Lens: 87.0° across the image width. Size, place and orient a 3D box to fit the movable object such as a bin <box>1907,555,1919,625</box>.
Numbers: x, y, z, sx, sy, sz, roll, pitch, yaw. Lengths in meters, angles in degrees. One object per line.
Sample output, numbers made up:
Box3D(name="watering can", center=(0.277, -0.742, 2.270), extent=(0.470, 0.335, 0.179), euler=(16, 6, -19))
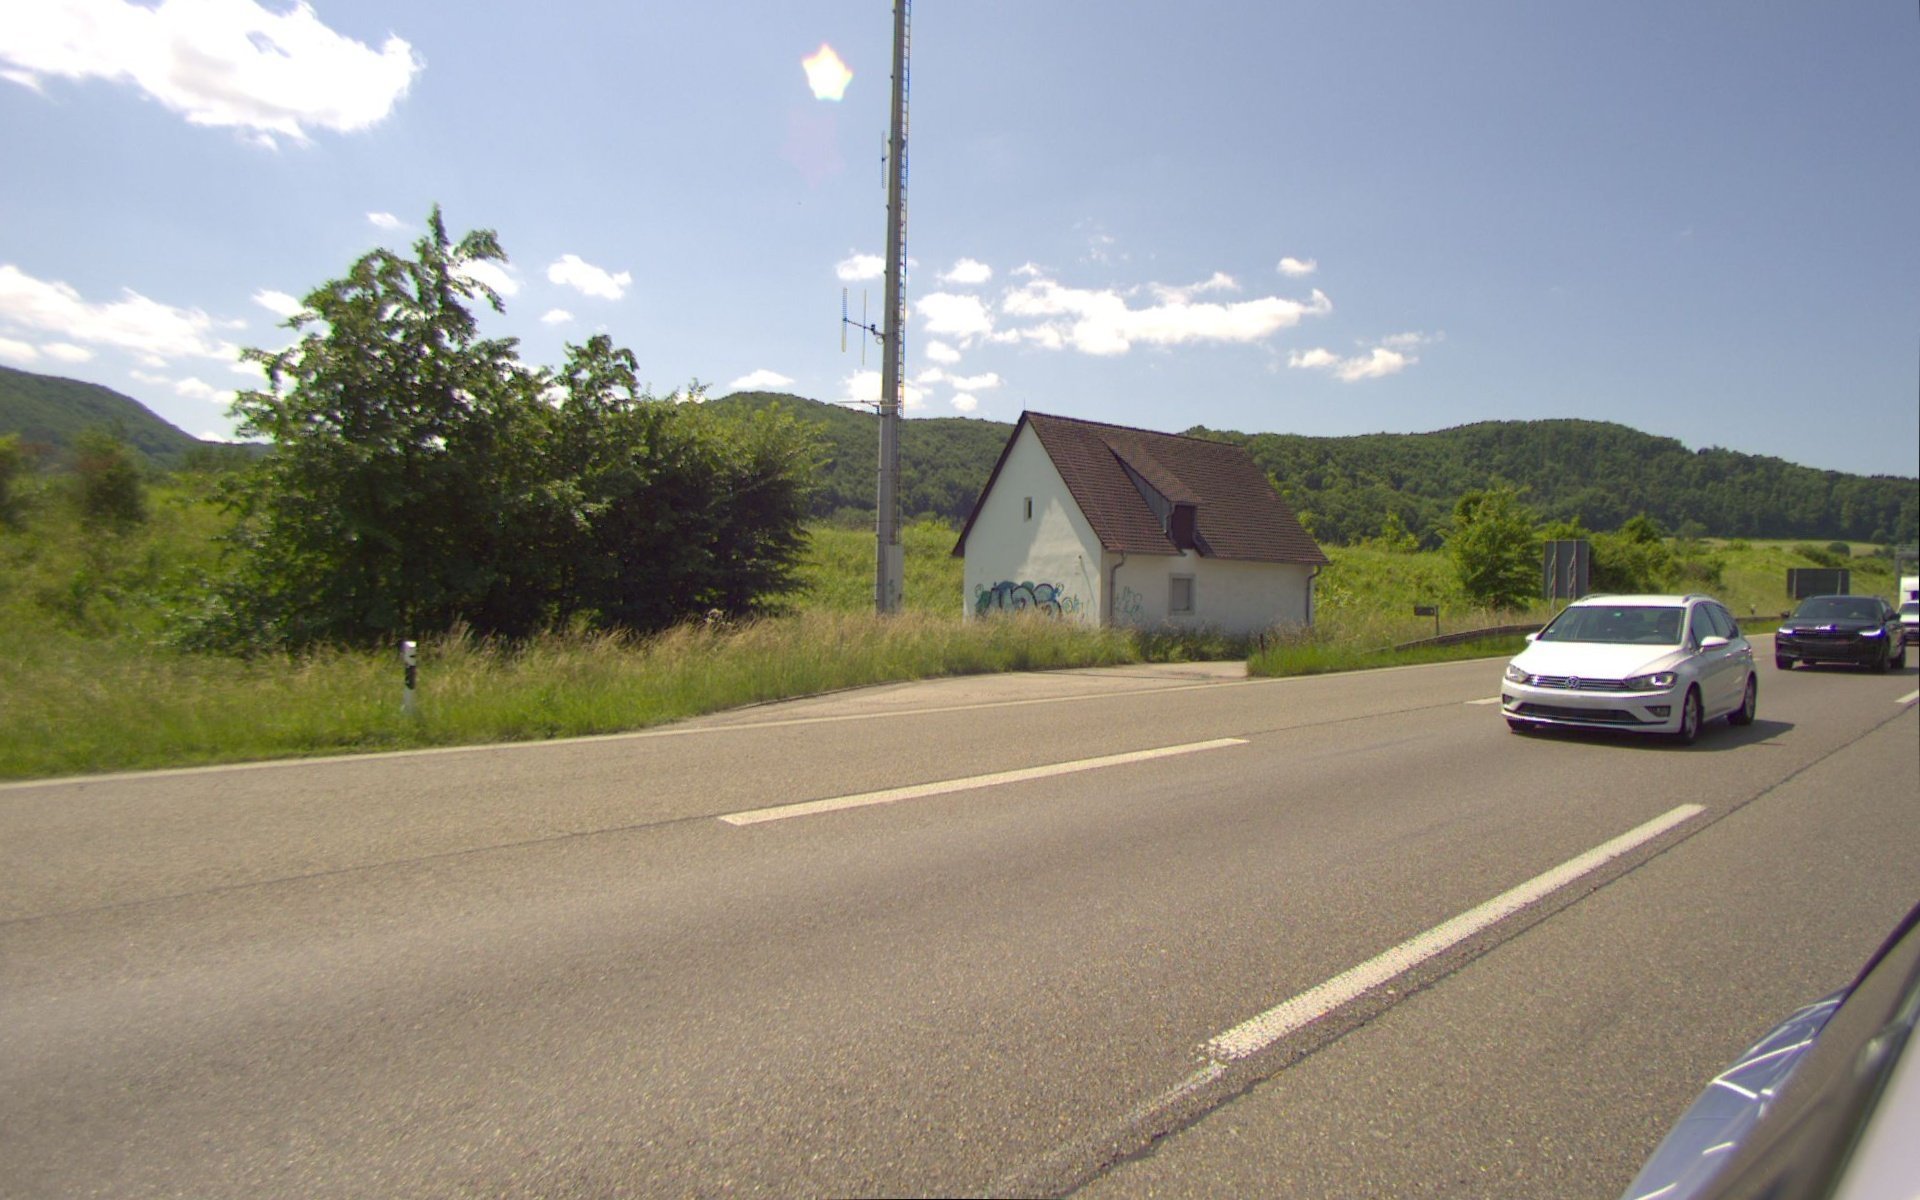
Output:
Box3D(name="movable object such as a bin", center=(39.557, -0.393, 39.935), extent=(6.590, 2.665, 2.479), euler=(0, 0, -41))

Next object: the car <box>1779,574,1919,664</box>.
Box3D(name="car", center=(19.764, 0.363, 22.297), extent=(4.097, 1.794, 1.893), euler=(0, 1, -40))

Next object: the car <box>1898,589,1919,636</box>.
Box3D(name="car", center=(34.358, 0.431, 35.403), extent=(3.930, 1.603, 1.820), euler=(0, 0, -41))

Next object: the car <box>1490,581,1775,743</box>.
Box3D(name="car", center=(7.884, 0.584, 11.728), extent=(3.983, 1.560, 1.775), euler=(0, 0, -41))
